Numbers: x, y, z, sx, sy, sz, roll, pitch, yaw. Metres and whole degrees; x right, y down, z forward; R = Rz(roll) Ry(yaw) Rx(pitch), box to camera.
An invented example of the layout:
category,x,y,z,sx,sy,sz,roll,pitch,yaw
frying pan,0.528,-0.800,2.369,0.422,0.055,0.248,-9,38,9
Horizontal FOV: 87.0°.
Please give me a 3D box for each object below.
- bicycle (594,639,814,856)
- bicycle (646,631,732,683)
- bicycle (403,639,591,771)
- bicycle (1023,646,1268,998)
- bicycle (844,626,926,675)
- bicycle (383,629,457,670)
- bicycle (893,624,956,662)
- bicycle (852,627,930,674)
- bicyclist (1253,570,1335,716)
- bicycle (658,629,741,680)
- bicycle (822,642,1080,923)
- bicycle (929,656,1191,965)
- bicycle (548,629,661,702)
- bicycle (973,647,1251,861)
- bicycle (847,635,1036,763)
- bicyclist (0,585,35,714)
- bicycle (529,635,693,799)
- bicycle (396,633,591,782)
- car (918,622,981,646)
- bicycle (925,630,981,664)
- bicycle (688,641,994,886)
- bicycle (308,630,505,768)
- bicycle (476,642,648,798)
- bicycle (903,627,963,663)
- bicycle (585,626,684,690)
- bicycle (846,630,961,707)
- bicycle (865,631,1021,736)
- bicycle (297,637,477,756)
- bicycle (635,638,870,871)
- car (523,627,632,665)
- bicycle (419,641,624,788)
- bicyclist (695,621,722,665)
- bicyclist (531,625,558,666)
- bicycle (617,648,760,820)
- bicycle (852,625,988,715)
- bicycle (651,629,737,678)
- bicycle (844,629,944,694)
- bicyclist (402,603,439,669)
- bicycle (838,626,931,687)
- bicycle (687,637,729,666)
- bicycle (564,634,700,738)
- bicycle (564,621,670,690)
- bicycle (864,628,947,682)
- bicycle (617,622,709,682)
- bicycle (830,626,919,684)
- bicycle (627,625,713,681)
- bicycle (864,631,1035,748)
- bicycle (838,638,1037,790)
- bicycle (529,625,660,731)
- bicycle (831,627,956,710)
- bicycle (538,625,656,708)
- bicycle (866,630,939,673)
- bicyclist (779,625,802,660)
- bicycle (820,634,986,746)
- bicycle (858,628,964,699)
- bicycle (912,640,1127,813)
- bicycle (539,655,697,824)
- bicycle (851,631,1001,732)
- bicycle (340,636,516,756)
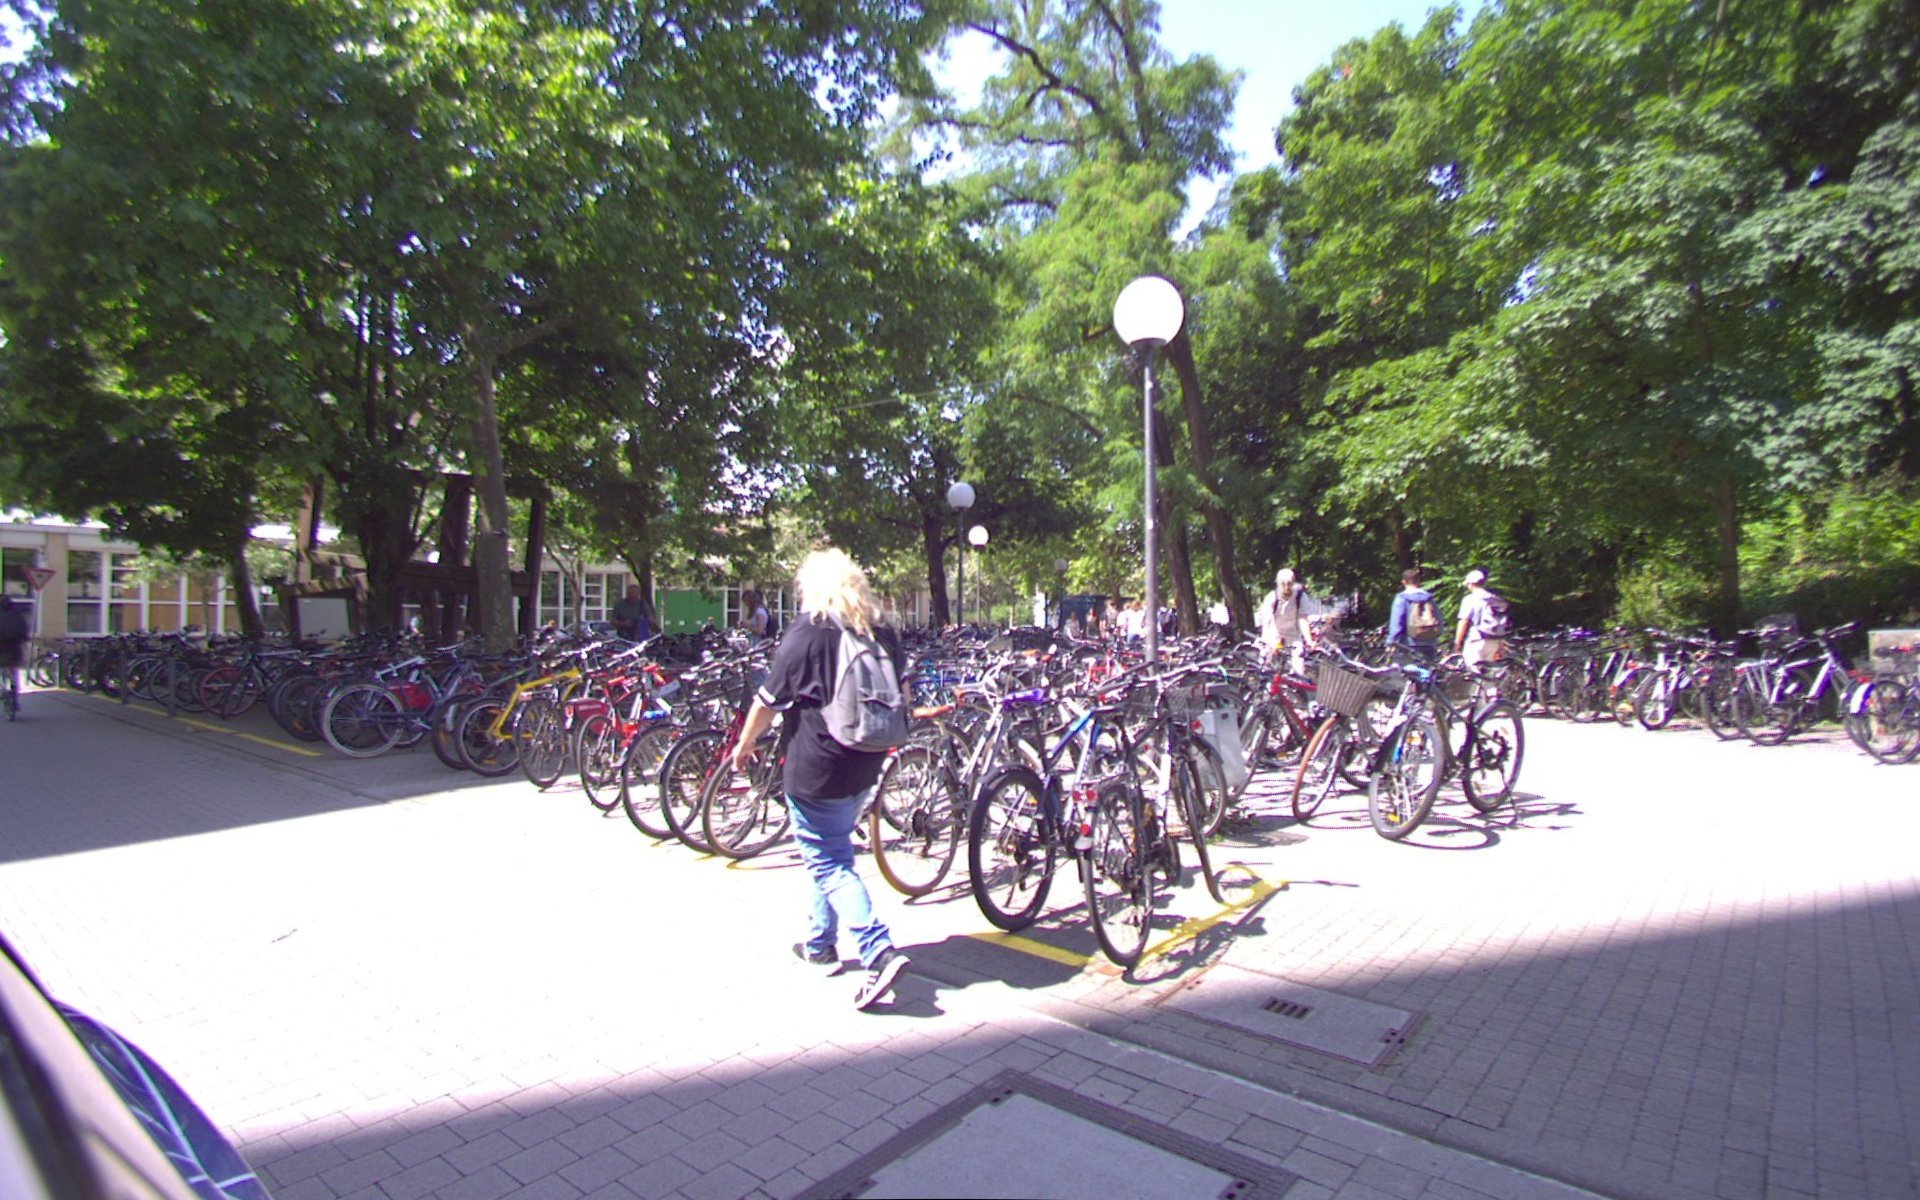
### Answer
category,x,y,z,sx,sy,sz,roll,pitch,yaw
bicycle,-1.604,0.873,6.640,0.471,1.177,1.686,-1,0,23
bicycle,-5.982,1.250,22.353,1.756,1.116,0.502,-1,0,3
bicycle,-4.485,0.968,9.926,0.563,1.116,1.683,-1,0,29
bicycle,0.881,0.820,4.417,0.472,1.168,1.681,-1,0,31
bicycle,-1.733,1.170,23.391,1.834,1.092,0.474,-1,0,3
bicycle,-16.383,1.477,30.717,1.856,1.181,0.807,0,-1,-39
bicycle,-1.059,1.292,30.393,1.834,1.092,0.474,-1,0,3
bicycle,-1.671,1.225,24.657,1.834,1.092,0.474,-1,0,3
bicyclist,3.761,0.468,11.425,0.586,1.580,0.723,0,0,-10
bicycle,-5.929,1.244,23.074,1.756,1.116,0.502,-1,0,3
bicycle,0.024,0.840,5.308,0.473,1.177,1.680,-1,0,34
bicycle,0.541,0.859,4.741,0.473,1.099,1.680,-1,0,34
bicycle,-5.727,1.039,16.357,1.671,1.116,0.504,-1,0,-13
bicycle,0.872,0.860,6.188,1.700,1.092,0.501,-1,0,44
bicycle,-0.176,0.888,9.370,1.671,1.092,0.475,0,0,-14
bicyclist,-13.311,0.664,13.889,0.910,1.729,0.764,0,0,38
bicycle,-2.842,0.905,8.426,0.469,1.166,1.692,-1,0,13
bicycle,-4.250,0.928,9.348,0.472,1.196,1.683,-1,0,29
car,-0.654,2.235,67.438,1.836,1.553,4.480,-2,-2,38
bicycle,-0.233,1.554,33.590,1.834,1.092,0.474,-1,0,3
bicycle,-0.637,0.859,5.845,1.752,1.177,0.475,0,0,-37
bicycle,-5.453,0.925,10.065,0.535,1.207,1.681,-1,0,32
bicycle,-3.291,0.943,8.533,0.469,1.116,1.692,-1,0,13
bicycle,-0.845,1.418,31.679,1.834,1.092,0.474,-1,0,3
bicycle,-5.959,1.056,18.597,1.672,1.116,0.504,-1,0,-9
bicycle,-0.853,1.016,15.134,1.674,1.092,0.475,-1,0,-5
bicycle,-0.195,0.919,11.396,1.671,1.092,0.475,-1,0,-14
bicycle,-6.076,0.982,10.832,0.472,1.116,1.683,-1,0,28
bicycle,-1.212,0.858,6.265,0.472,1.177,1.684,-1,0,27
car,-17.739,2.100,47.101,1.836,1.630,4.480,0,0,38
bicycle,-3.844,0.954,9.010,0.580,1.116,1.683,-1,0,29
bicyclist,-11.229,1.907,45.127,0.673,1.901,0.959,1,2,32
bicyclist,-16.003,1.758,38.984,0.605,1.546,0.717,1,-1,42
bicycle,-1.977,0.931,7.585,0.468,1.070,1.697,-1,0,5
bicycle,-0.520,0.883,13.016,1.671,1.092,0.475,-1,0,-14
bicycle,-6.220,1.252,23.662,1.881,1.116,0.502,-1,0,3
bicycle,-1.136,1.061,17.591,1.677,1.092,0.474,-1,0,3
bicyclist,-16.383,1.074,30.713,0.854,1.905,0.807,-2,4,-38
bicycle,-1.395,1.048,18.786,1.677,1.092,0.474,-1,0,3
bicycle,-11.225,2.280,45.138,0.672,1.149,1.866,1,2,31
bicycle,-3.952,1.000,12.317,0.500,1.116,1.683,-1,0,29
bicycle,-5.836,0.935,17.305,1.671,1.116,0.504,-1,0,-13
bicycle,-1.130,1.137,21.050,1.677,1.092,0.474,-1,0,3
bicycle,-5.783,0.995,19.770,1.672,1.116,0.633,-1,0,-9
bicycle,-1.659,1.069,19.758,1.677,1.092,0.474,-1,0,3
bicycle,-5.997,1.088,20.967,1.672,1.116,0.504,-1,0,-9
bicycle,-0.105,0.886,10.346,1.670,1.092,0.475,0,0,-18
bicycle,-0.158,0.889,8.362,1.672,1.092,0.475,0,0,-36
bicycle,-4.688,0.964,13.085,0.500,1.229,1.683,-1,0,29
bicycle,-0.927,0.935,14.057,1.671,1.092,0.475,-1,0,-14
bicycle,-5.614,1.014,15.746,1.671,1.209,0.577,0,0,-13
bicycle,-1.483,1.322,26.040,1.834,1.092,0.474,-1,0,3
bicyclist,-8.000,2.000,47.702,0.639,1.585,0.864,0,-1,36
bicycle,-0.602,0.925,10.705,1.670,1.092,0.475,0,0,-18
bicycle,-0.798,1.021,16.373,1.674,1.092,0.475,-1,0,-5
bicycle,0.471,0.869,7.443,1.672,1.092,0.475,0,0,-37
bicycle,-2.481,0.967,7.532,0.468,1.026,1.697,-1,0,5
bicycle,-0.400,0.933,11.839,1.671,1.092,0.475,-1,0,-14
bicycle,-5.622,0.971,10.794,0.472,1.116,1.683,-1,0,29
